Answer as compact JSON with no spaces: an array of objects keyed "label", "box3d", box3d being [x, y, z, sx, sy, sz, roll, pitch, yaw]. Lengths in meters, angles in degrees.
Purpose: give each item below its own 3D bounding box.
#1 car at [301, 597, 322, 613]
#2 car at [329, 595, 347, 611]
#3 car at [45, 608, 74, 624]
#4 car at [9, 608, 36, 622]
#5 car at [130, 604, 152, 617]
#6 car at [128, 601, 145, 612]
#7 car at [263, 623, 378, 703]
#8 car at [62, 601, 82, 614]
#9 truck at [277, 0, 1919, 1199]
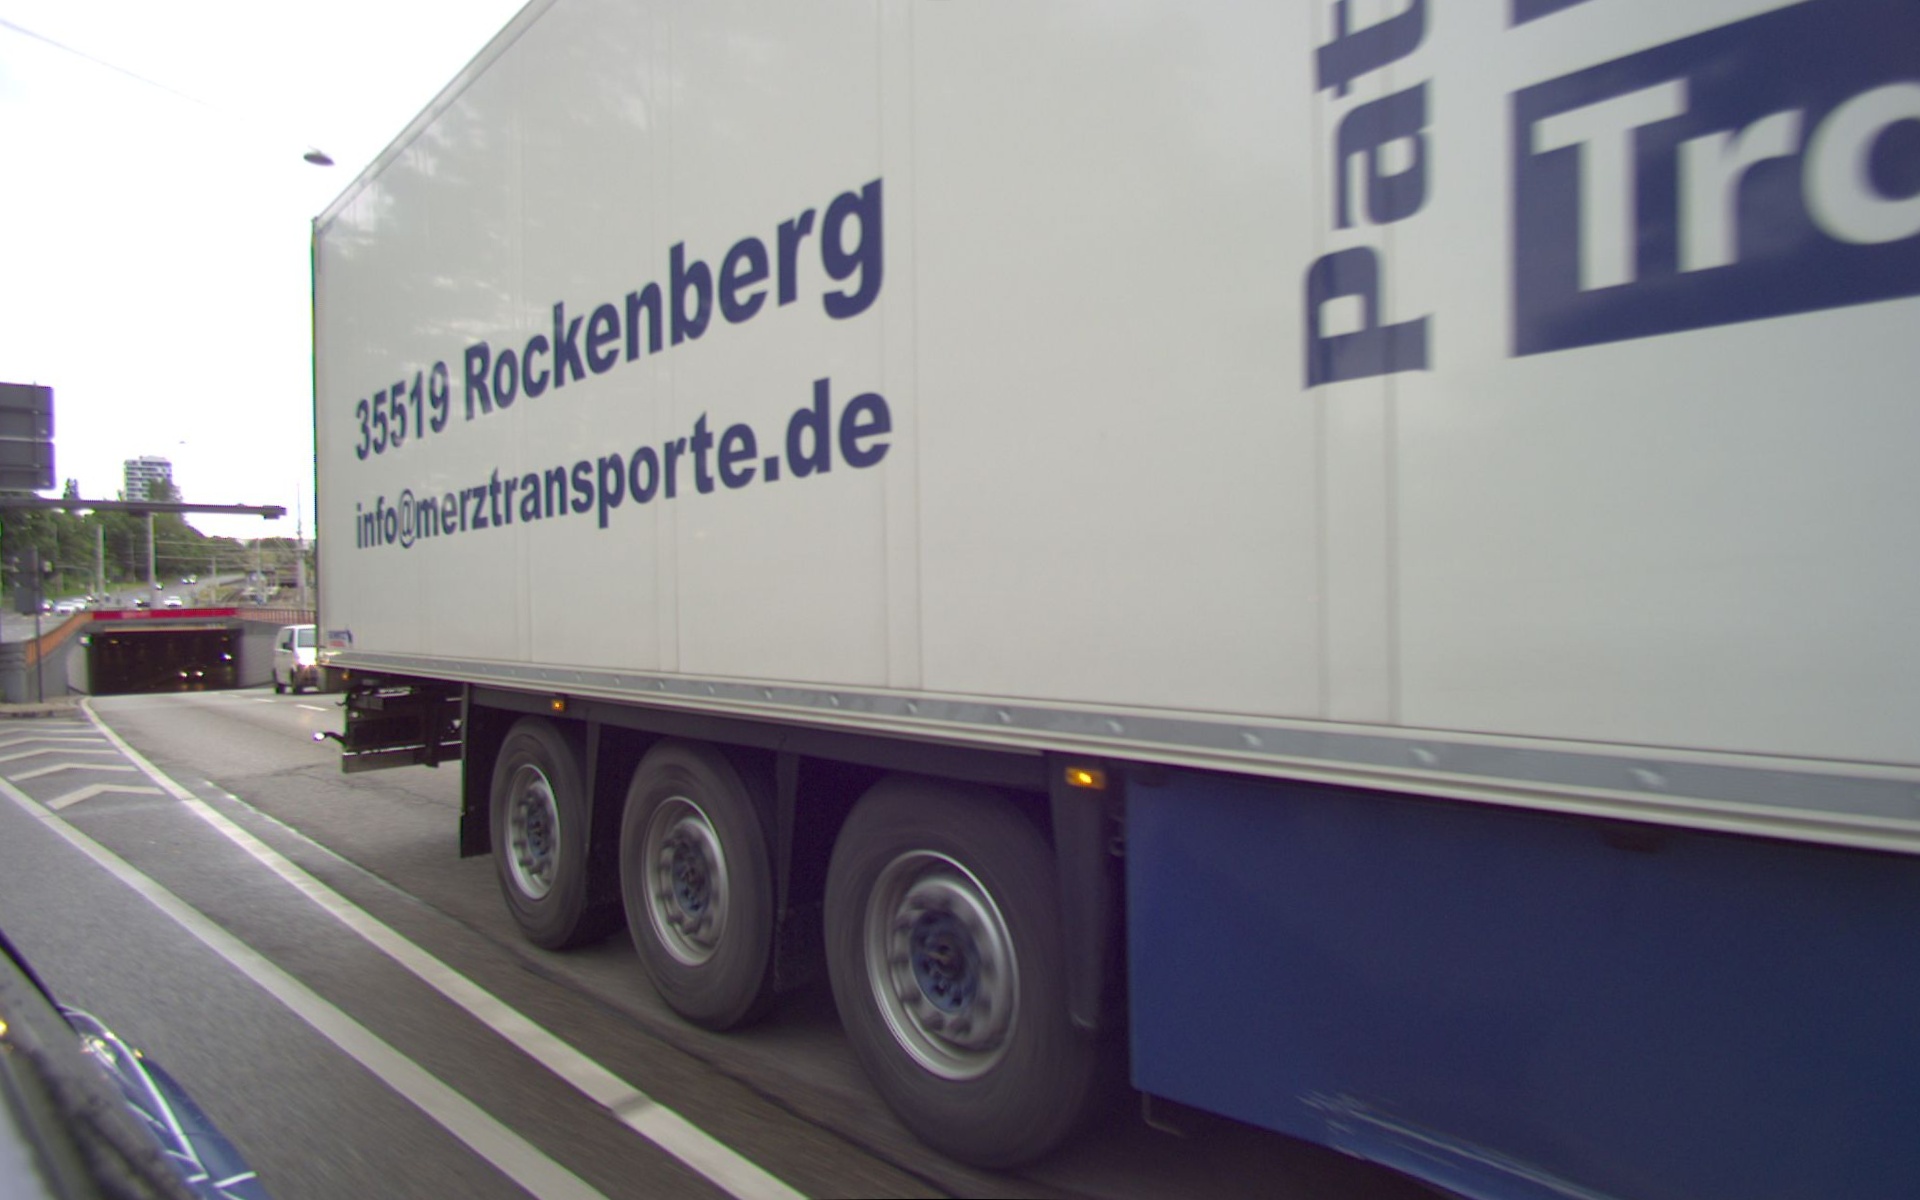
[{"label":"car","box3d":[-91.637,0.681,143.115,1.965,2.028,4.014,-1,3,-25]},{"label":"car","box3d":[-90.253,0.450,146.895,1.967,2.028,4.011,-1,4,-35]},{"label":"car","box3d":[-103.558,1.843,116.449,1.710,1.599,4.013,-1,3,-30]},{"label":"car","box3d":[-109.005,1.738,117.698,1.860,1.482,4.017,-1,-1,-37]},{"label":"car","box3d":[-115.769,1.458,143.080,1.710,1.599,4.013,-1,3,-30]},{"label":"car","box3d":[-116.510,0.905,143.186,1.774,1.482,4.008,-1,2,-38]},{"label":"car","box3d":[-18.364,1.815,28.976,1.969,2.042,4.691,-1,-3,-42]},{"label":"car","box3d":[-112.488,0.971,128.192,1.774,1.523,4.007,-1,-1,-39]},{"label":"truck","box3d":[1.020,-0.590,3.130,13.037,4.229,2.731,-1,-1,45]}]
